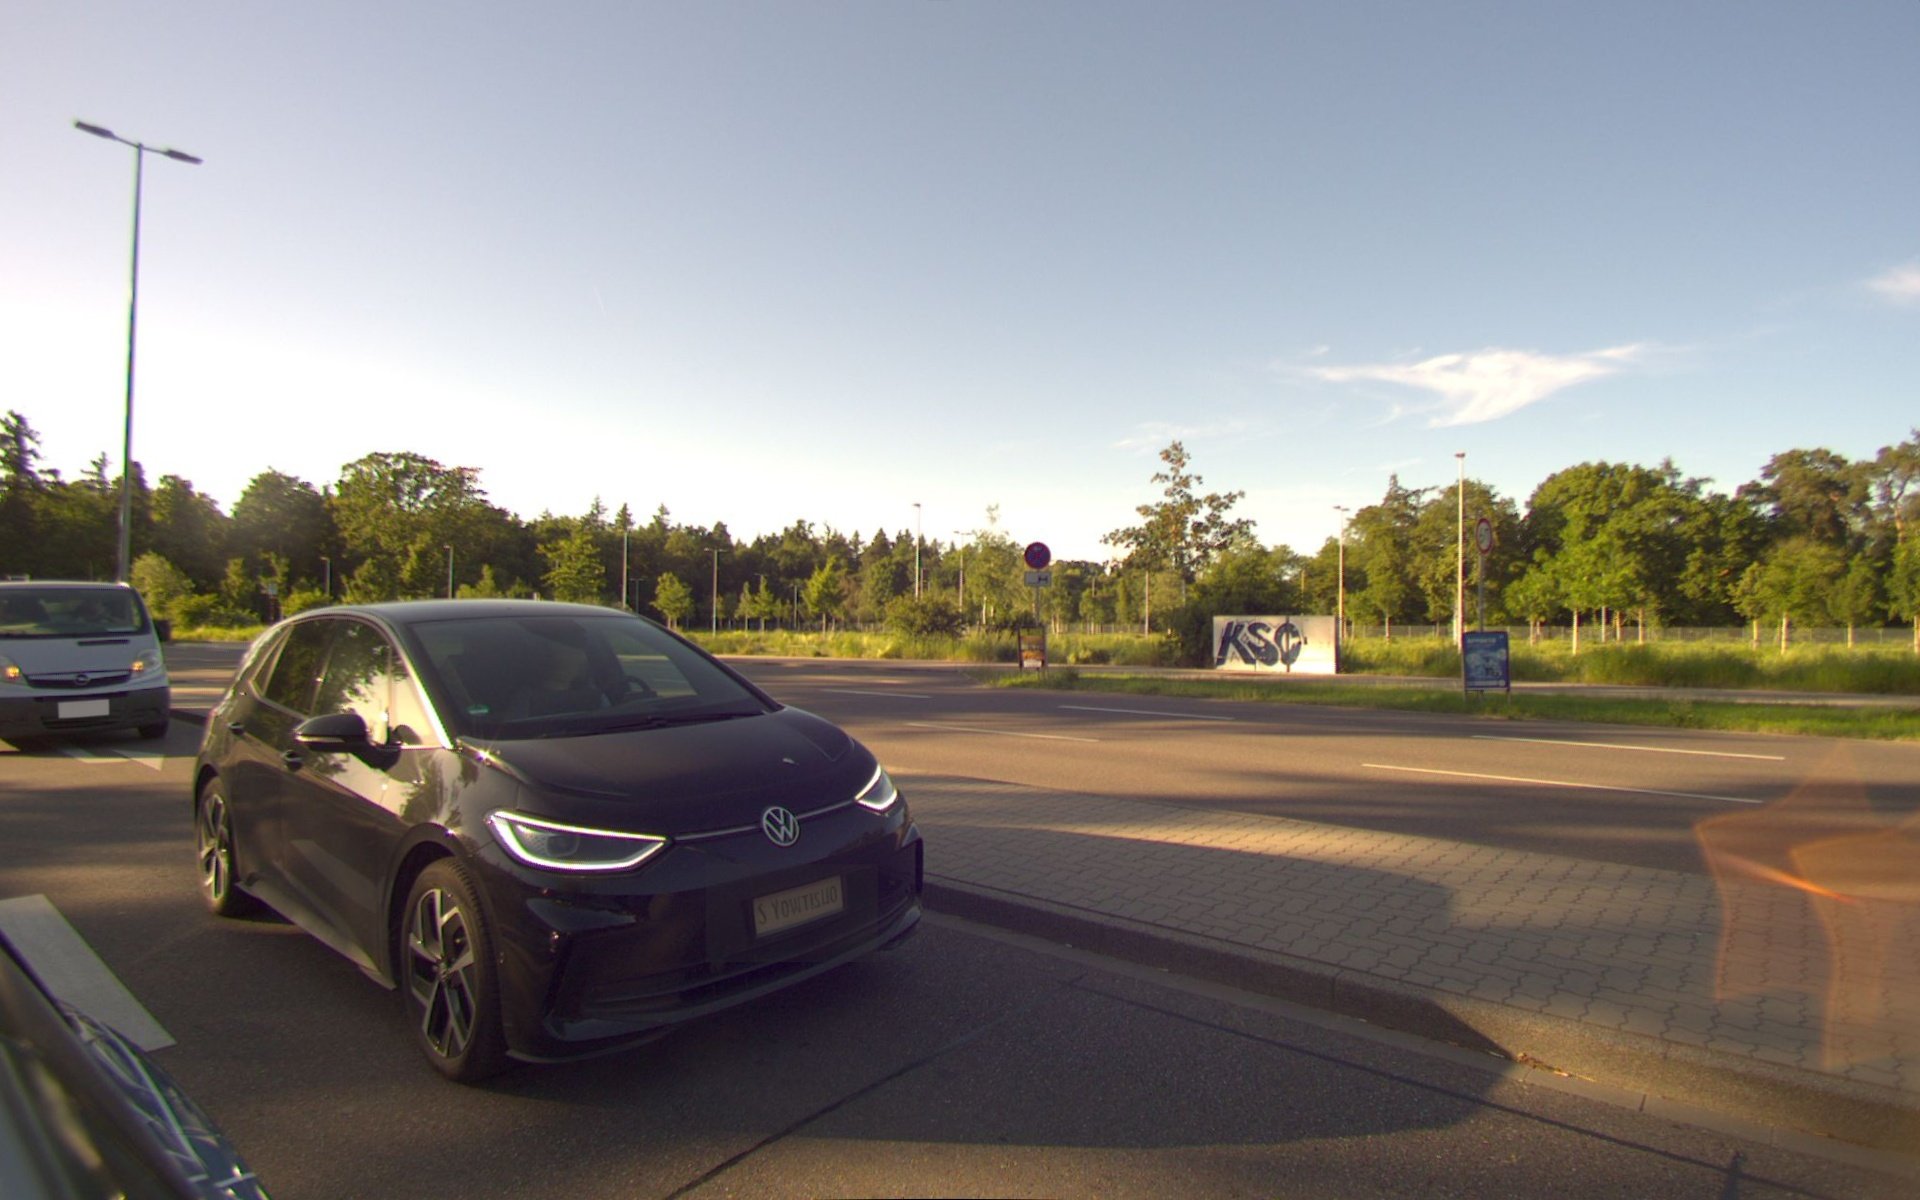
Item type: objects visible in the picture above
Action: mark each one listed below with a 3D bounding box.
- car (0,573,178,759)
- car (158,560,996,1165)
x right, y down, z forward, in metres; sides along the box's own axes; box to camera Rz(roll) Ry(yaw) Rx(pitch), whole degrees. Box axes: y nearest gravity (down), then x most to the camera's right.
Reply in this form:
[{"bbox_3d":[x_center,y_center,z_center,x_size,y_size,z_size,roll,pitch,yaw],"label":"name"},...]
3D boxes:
[{"bbox_3d":[-11.768,0.759,12.876,5.044,1.977,1.859,-2,-1,40],"label":"car"},{"bbox_3d":[-1.981,0.683,4.601,3.997,1.548,1.859,-1,0,40],"label":"car"}]
